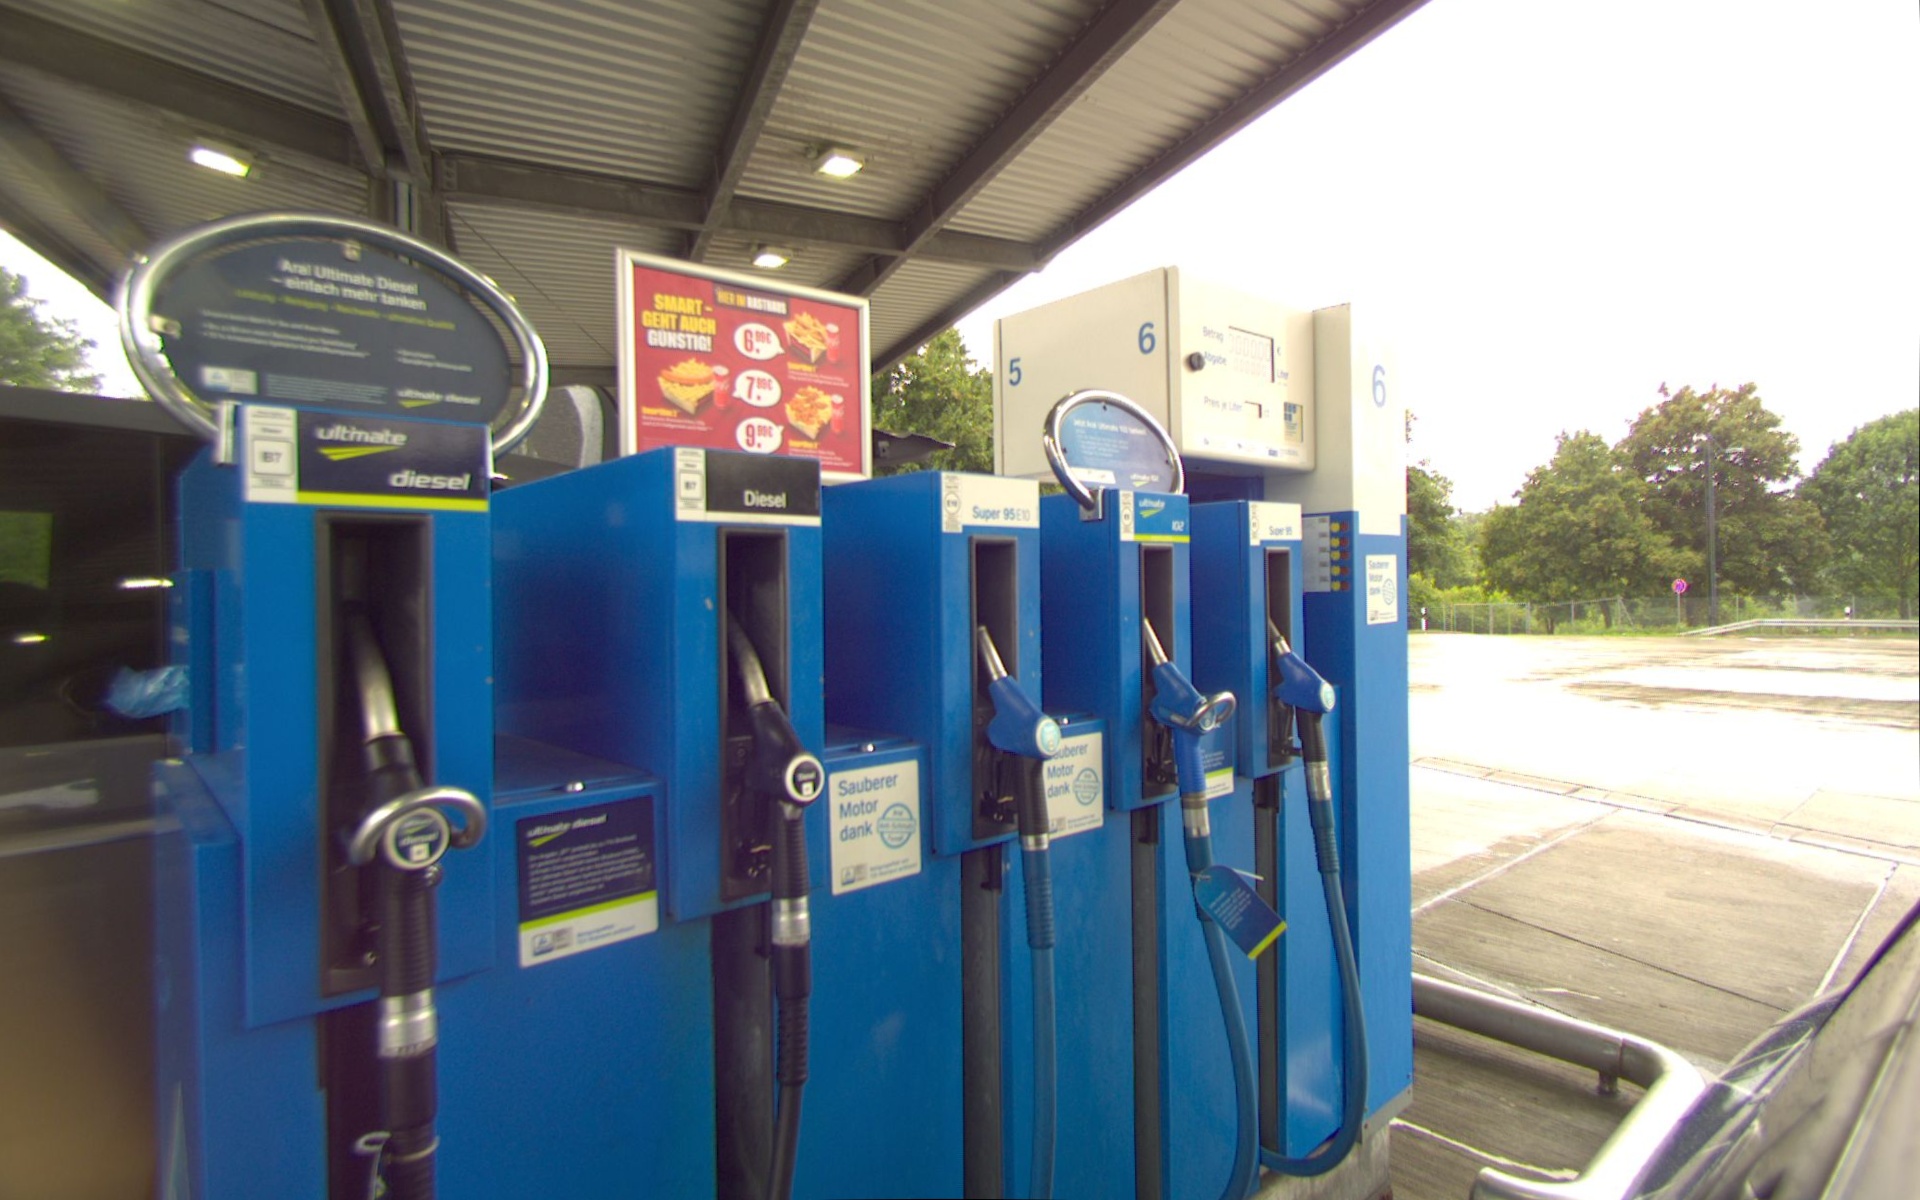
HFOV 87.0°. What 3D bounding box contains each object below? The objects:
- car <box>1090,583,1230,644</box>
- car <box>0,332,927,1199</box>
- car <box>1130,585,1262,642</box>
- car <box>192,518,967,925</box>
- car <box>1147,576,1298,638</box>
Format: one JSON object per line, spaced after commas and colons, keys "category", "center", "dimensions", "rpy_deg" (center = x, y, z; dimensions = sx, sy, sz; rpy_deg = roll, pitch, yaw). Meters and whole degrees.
{"category": "car", "center": [5.872, 0.373, 29.736], "dimensions": [3.941, 1.680, 1.593], "rpy_deg": [1, 0, 14]}
{"category": "car", "center": [-2.599, 0.500, 1.823], "dimensions": [5.050, 1.821, 1.864], "rpy_deg": [-1, 0, -41]}
{"category": "car", "center": [7.426, 0.385, 31.927], "dimensions": [3.941, 1.680, 1.593], "rpy_deg": [1, 0, 14]}
{"category": "car", "center": [-2.235, 0.516, 6.710], "dimensions": [4.460, 1.821, 1.864], "rpy_deg": [-1, 0, -41]}
{"category": "car", "center": [8.887, 0.207, 34.510], "dimensions": [4.817, 1.974, 2.306], "rpy_deg": [1, 1, 14]}
